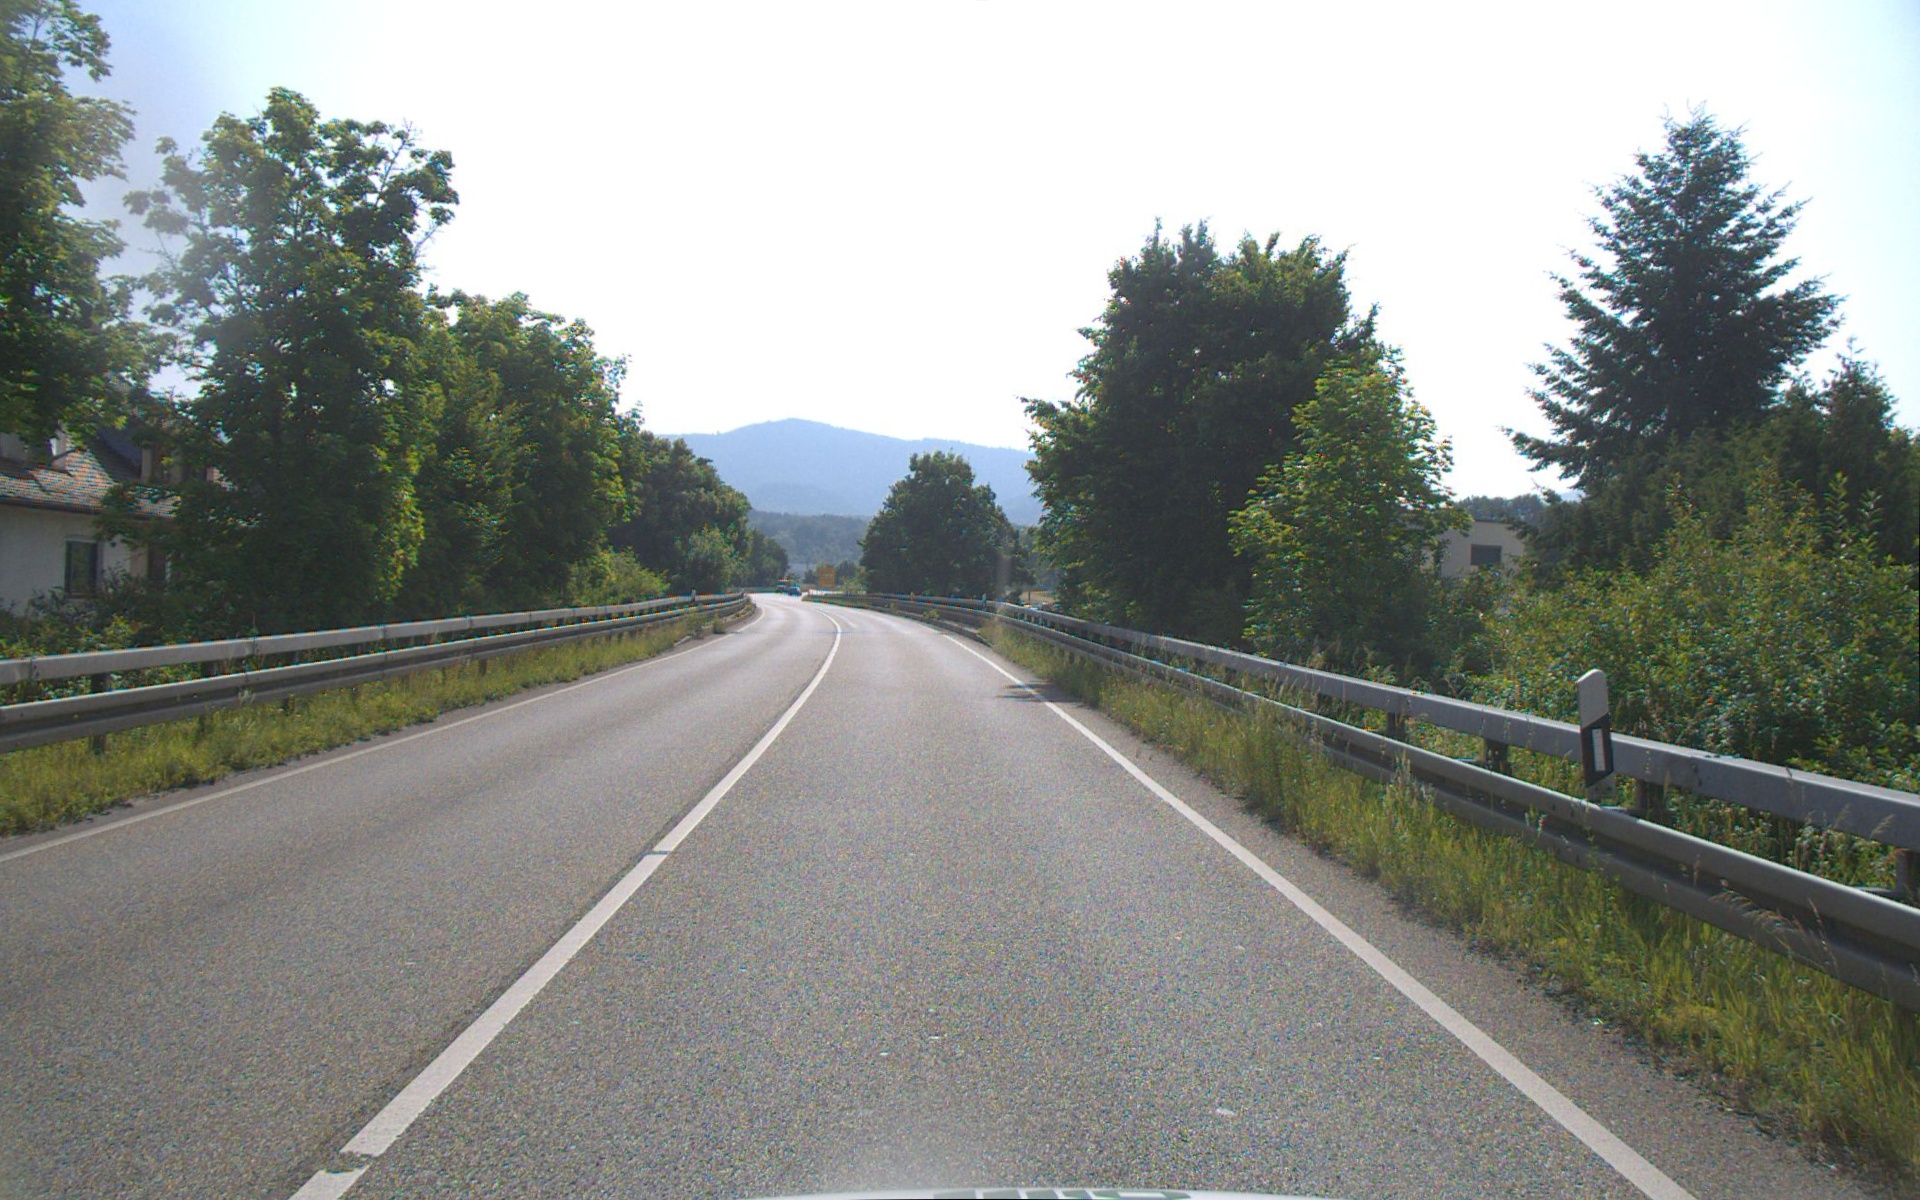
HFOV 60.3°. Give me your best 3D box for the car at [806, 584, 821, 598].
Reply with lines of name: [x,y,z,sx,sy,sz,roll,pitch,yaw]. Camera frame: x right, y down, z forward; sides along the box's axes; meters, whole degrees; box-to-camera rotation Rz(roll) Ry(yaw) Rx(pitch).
car: [-22.319,-1.343,252.397,1.952,2.049,4.000,1,-1,0]
